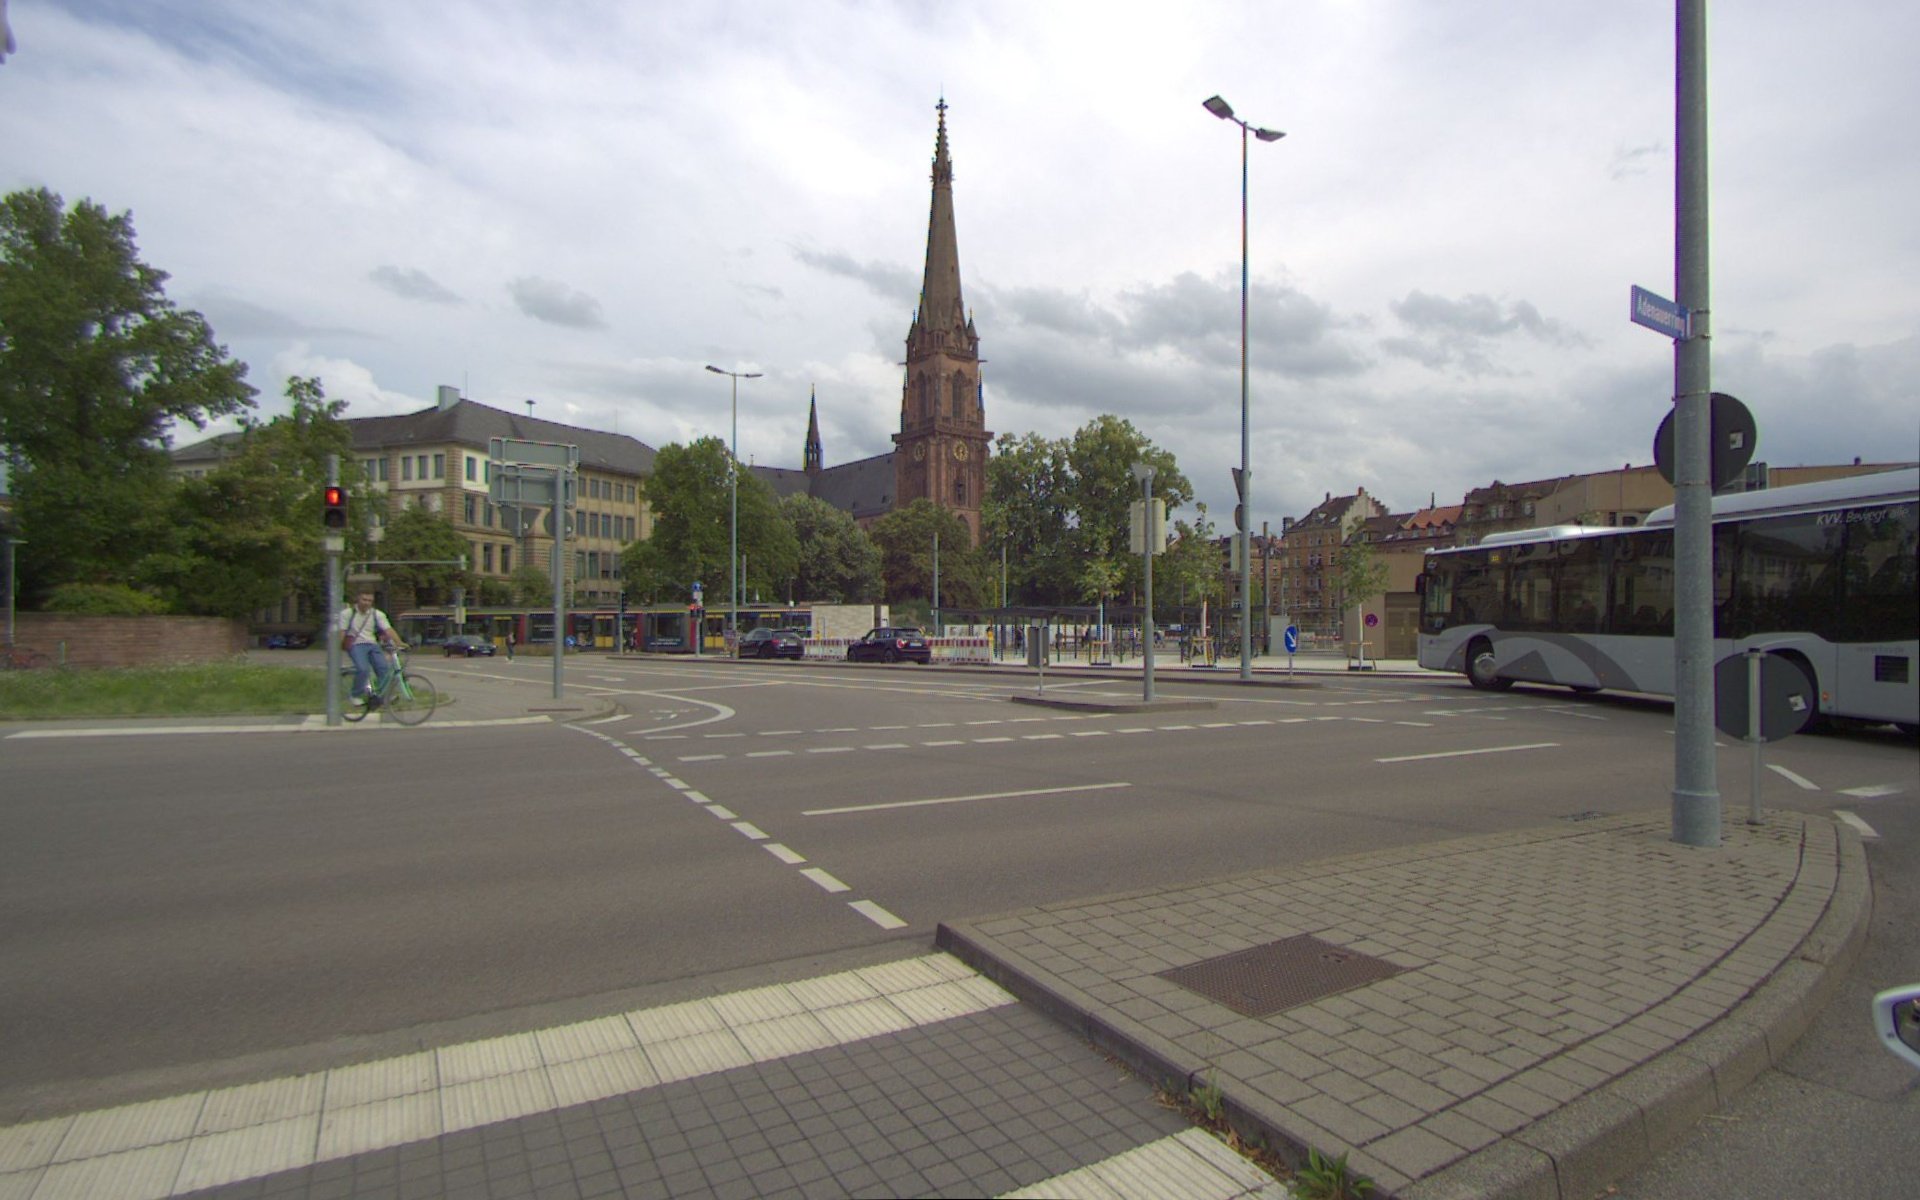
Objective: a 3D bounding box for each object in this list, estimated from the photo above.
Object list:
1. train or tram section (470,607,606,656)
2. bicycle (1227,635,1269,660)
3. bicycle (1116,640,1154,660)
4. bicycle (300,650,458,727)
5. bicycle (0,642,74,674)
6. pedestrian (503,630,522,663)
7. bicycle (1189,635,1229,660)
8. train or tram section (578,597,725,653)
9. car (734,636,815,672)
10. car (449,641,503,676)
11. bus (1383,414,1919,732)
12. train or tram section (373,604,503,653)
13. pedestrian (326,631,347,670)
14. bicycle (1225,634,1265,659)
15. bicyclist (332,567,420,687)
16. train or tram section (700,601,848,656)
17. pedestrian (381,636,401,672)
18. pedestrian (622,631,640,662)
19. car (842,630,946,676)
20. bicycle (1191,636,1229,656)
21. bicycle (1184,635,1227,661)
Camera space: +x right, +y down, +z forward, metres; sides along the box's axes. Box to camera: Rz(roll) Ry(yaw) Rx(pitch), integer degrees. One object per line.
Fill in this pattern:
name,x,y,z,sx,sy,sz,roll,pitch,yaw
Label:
train or tram section,-30.641,2.225,72.976,9.242,3.255,3.063,1,0,17
bicycle,14.448,2.377,50.367,1.926,1.171,0.584,1,0,9
bicycle,9.290,2.647,53.218,1.927,0.968,0.584,1,0,15
bicycle,-7.903,1.194,13.679,1.931,0.948,0.506,2,-2,9
bicycle,-33.060,2.063,35.976,0.763,1.018,1.927,1,0,10
pedestrian,-23.611,2.447,52.996,0.791,1.734,0.832,1,0,-33
bicycle,12.635,2.396,51.027,1.926,1.171,0.584,1,0,9
train or tram section,-21.582,1.699,70.191,9.732,3.496,3.063,1,0,17
car,-8.413,2.398,45.275,1.981,1.379,4.230,1,0,-36
car,-31.534,3.751,65.364,1.987,2.040,3.947,1,0,-44
bus,11.651,-0.024,16.757,2.661,3.483,14.184,0,-3,-2
train or tram section,-39.323,2.072,75.677,9.182,3.321,3.063,1,0,17
pedestrian,-28.535,2.281,45.942,0.791,1.734,0.832,1,0,-33
bicycle,14.684,2.389,51.805,1.926,1.171,0.584,1,0,9
bicyclist,-7.964,0.371,13.727,0.782,1.576,0.580,2,-2,9
train or tram section,-12.476,1.850,67.410,9.312,3.290,3.063,1,0,17
pedestrian,-27.779,2.618,49.031,0.791,1.734,0.832,1,0,-33
pedestrian,-18.795,2.653,57.396,0.791,1.734,0.832,1,0,-33
car,-2.531,1.949,37.880,1.983,1.506,3.954,1,0,-39
bicycle,13.277,2.454,53.325,1.927,0.983,0.584,1,0,15
bicycle,11.825,2.304,48.359,1.926,1.171,0.584,1,0,9
